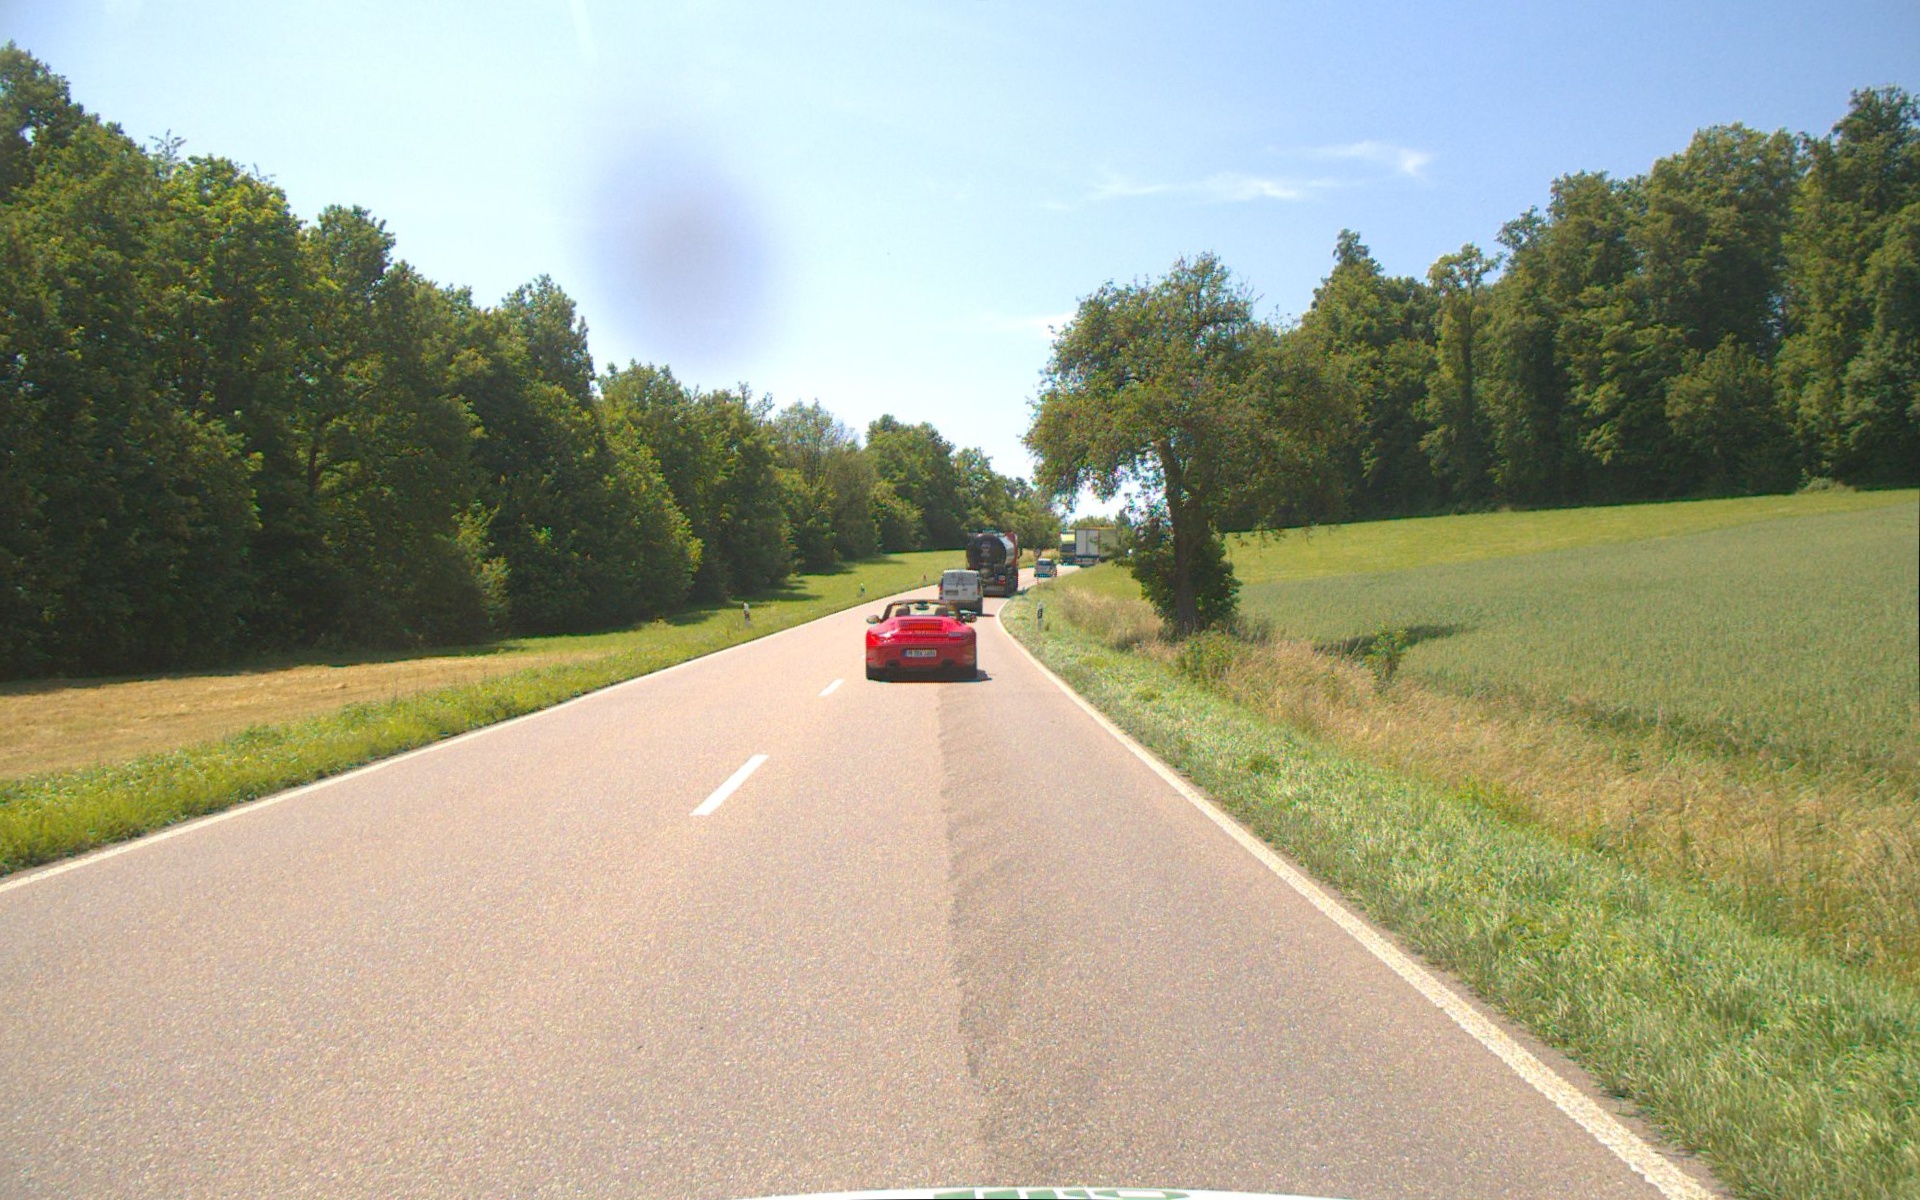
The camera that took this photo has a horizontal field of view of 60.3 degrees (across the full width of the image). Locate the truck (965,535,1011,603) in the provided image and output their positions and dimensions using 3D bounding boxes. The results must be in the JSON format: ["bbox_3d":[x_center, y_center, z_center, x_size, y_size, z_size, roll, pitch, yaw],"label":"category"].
[{"bbox_3d":[1.892,-1.963,107.198,2.353,4.120,12.556,0,0,4],"label":"truck"}]

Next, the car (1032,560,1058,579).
[{"bbox_3d":[7.390,-2.658,143.420,1.791,1.540,4.195,0,2,10],"label":"car"}]

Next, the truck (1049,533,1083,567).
[{"bbox_3d":[11.915,-5.599,186.023,2.672,3.755,8.554,1,1,11],"label":"truck"}]

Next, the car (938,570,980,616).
[{"bbox_3d":[-0.014,-0.345,72.016,1.643,1.934,4.011,0,1,3],"label":"car"}]

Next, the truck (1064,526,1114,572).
[{"bbox_3d":[13.845,-5.450,176.029,3.646,4.741,12.044,0,2,12],"label":"truck"}]

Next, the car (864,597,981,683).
[{"bbox_3d":[-0.631,0.628,28.073,1.844,1.277,4.009,0,1,-1],"label":"car"}]
